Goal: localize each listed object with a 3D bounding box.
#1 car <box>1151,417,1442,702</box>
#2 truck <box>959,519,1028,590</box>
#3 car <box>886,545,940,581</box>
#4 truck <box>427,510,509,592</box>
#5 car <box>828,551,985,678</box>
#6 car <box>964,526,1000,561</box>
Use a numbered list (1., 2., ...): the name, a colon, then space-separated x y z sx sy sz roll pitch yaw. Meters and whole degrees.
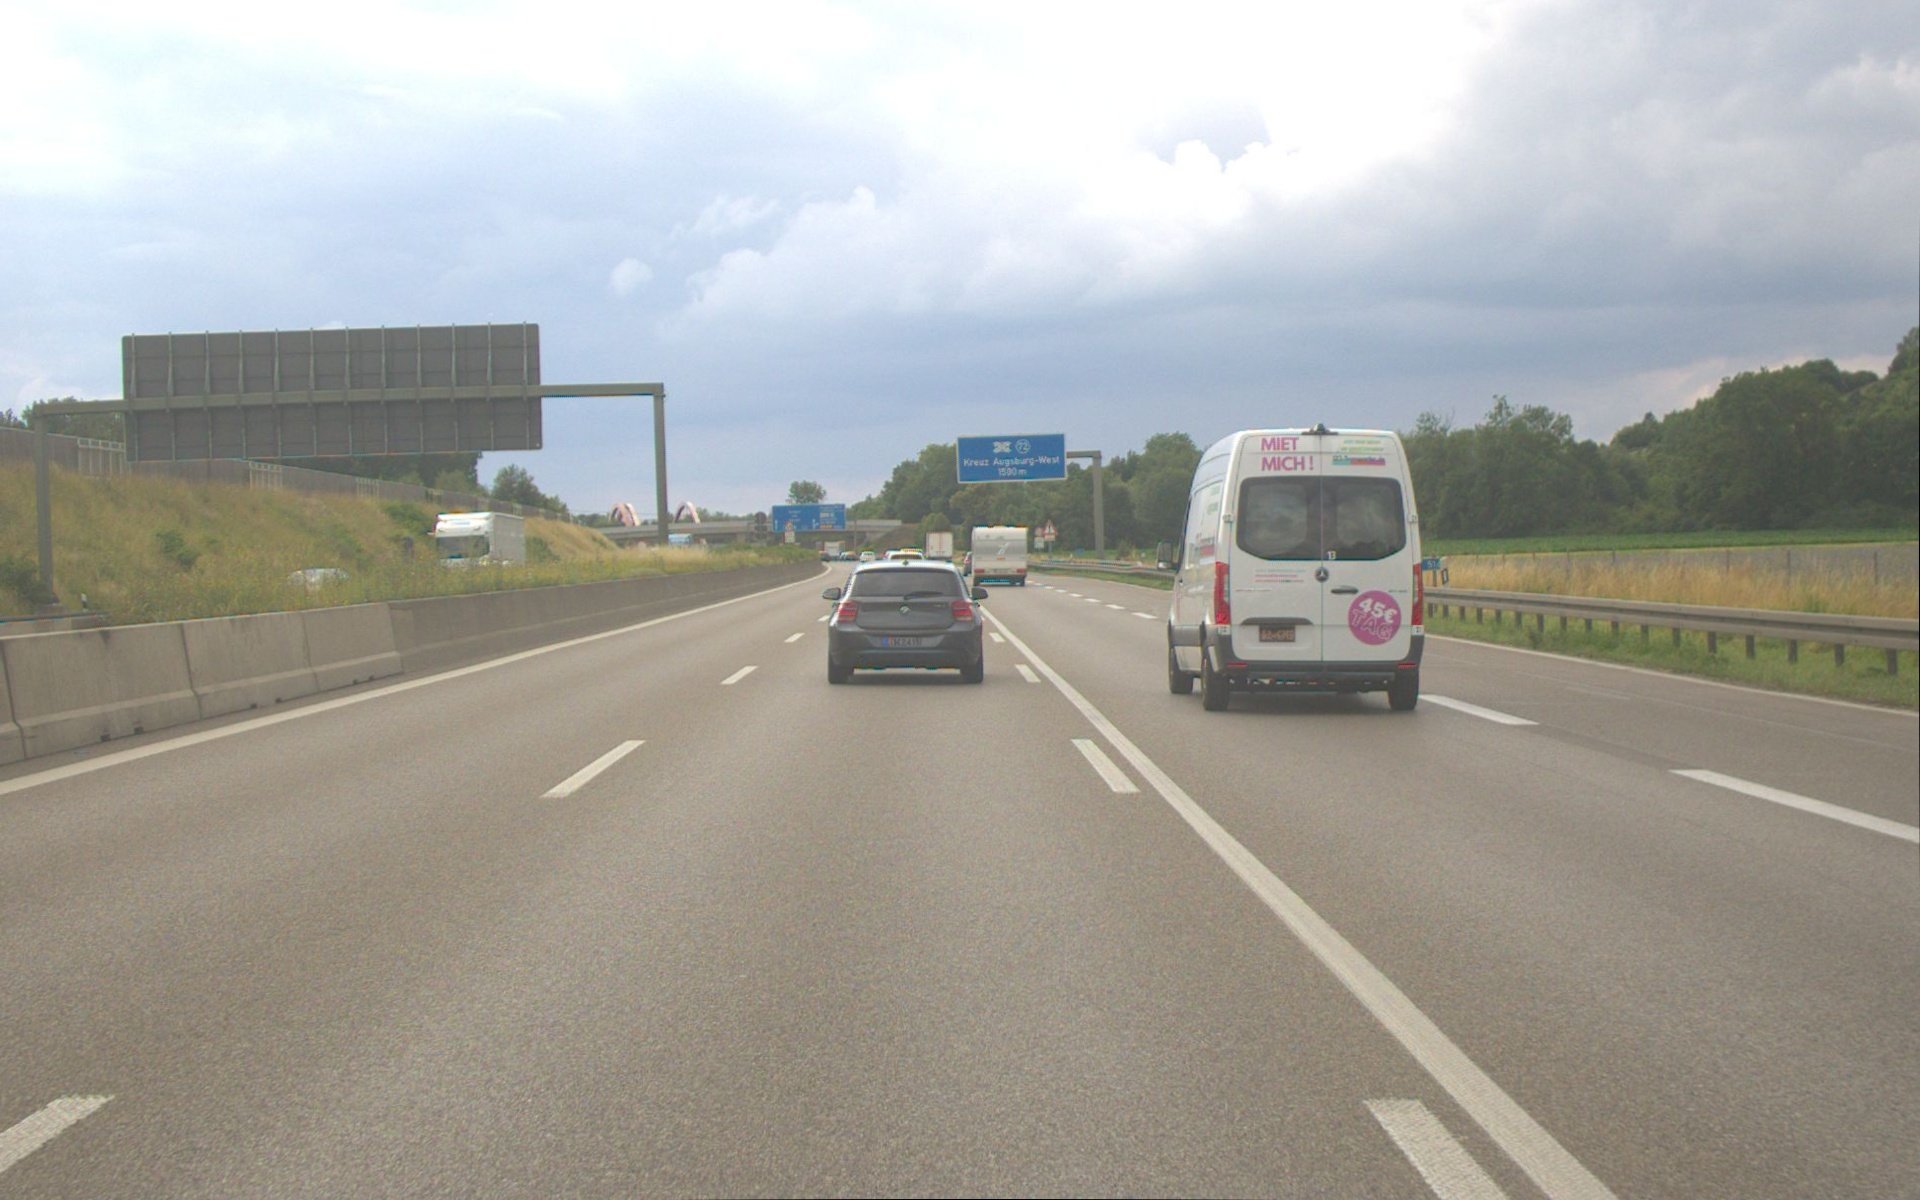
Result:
1. car: 3.219 -0.419 34.233 2.221 2.559 6.256 0 1 0
2. truck: 1.417 -2.017 151.105 2.710 2.954 12.448 1 1 -1
3. car: -1.819 -1.422 131.392 1.993 1.293 4.000 -2 1 -1
4. truck: -22.986 -2.315 160.847 2.726 3.665 7.490 -2 1 -1
5. car: -0.617 0.138 40.152 1.743 1.384 4.000 0 1 -1
6. car: 1.314 -3.333 202.987 1.993 2.007 4.000 -1 1 -1
